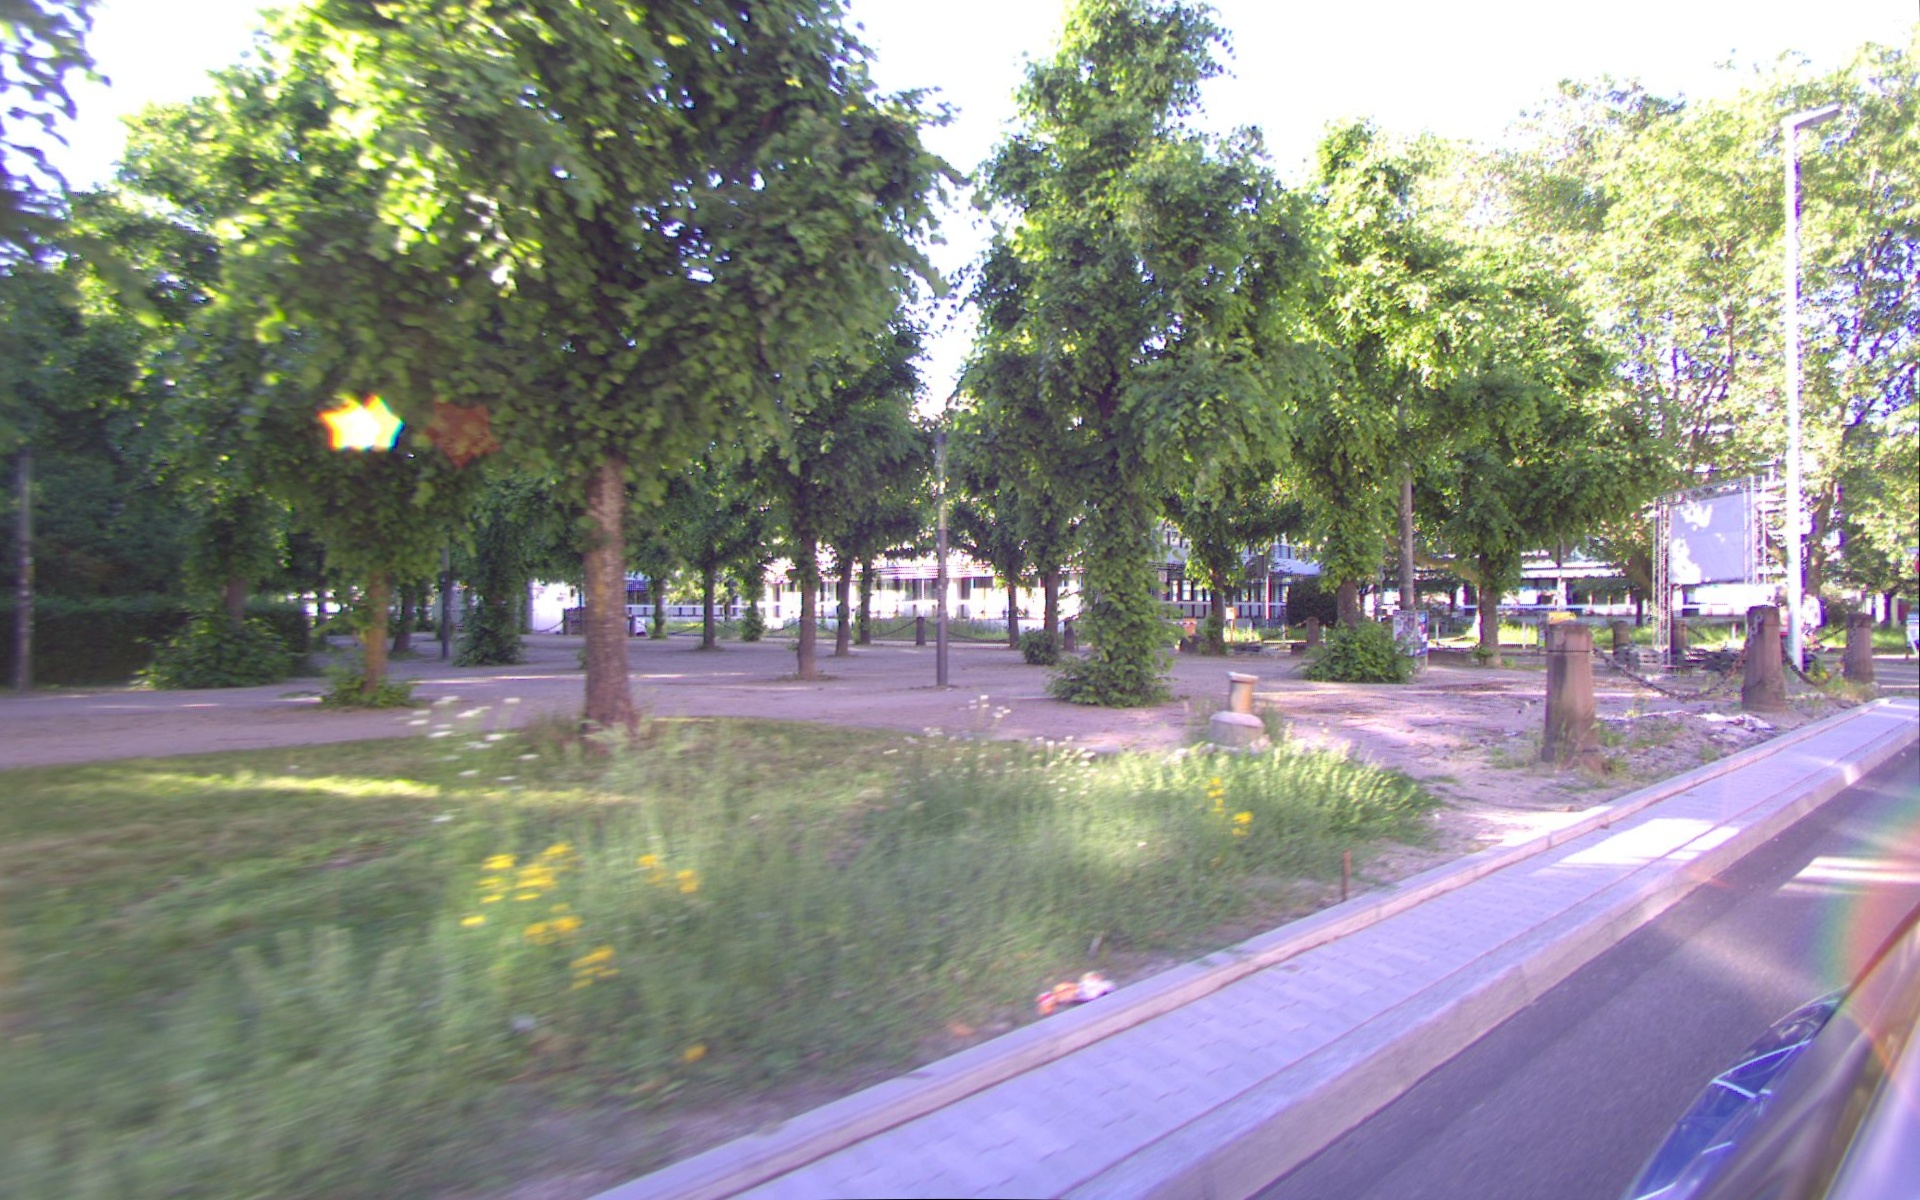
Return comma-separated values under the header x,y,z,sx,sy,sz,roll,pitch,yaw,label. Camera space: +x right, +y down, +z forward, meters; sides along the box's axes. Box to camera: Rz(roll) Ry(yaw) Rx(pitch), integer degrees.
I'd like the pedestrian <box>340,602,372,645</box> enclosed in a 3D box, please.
x,y,z,sx,sy,sz,roll,pitch,yaw,label
-23.224,0.888,38.889,0.675,1.603,0.831,-1,-1,28,pedestrian

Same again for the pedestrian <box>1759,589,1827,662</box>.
x,y,z,sx,sy,sz,roll,pitch,yaw,label
19.102,0.592,23.212,0.923,1.644,0.708,-1,-1,10,pedestrian

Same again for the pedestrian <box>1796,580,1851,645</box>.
x,y,z,sx,sy,sz,roll,pitch,yaw,label
24.915,0.372,29.220,1.127,1.836,0.737,-1,-3,38,pedestrian
